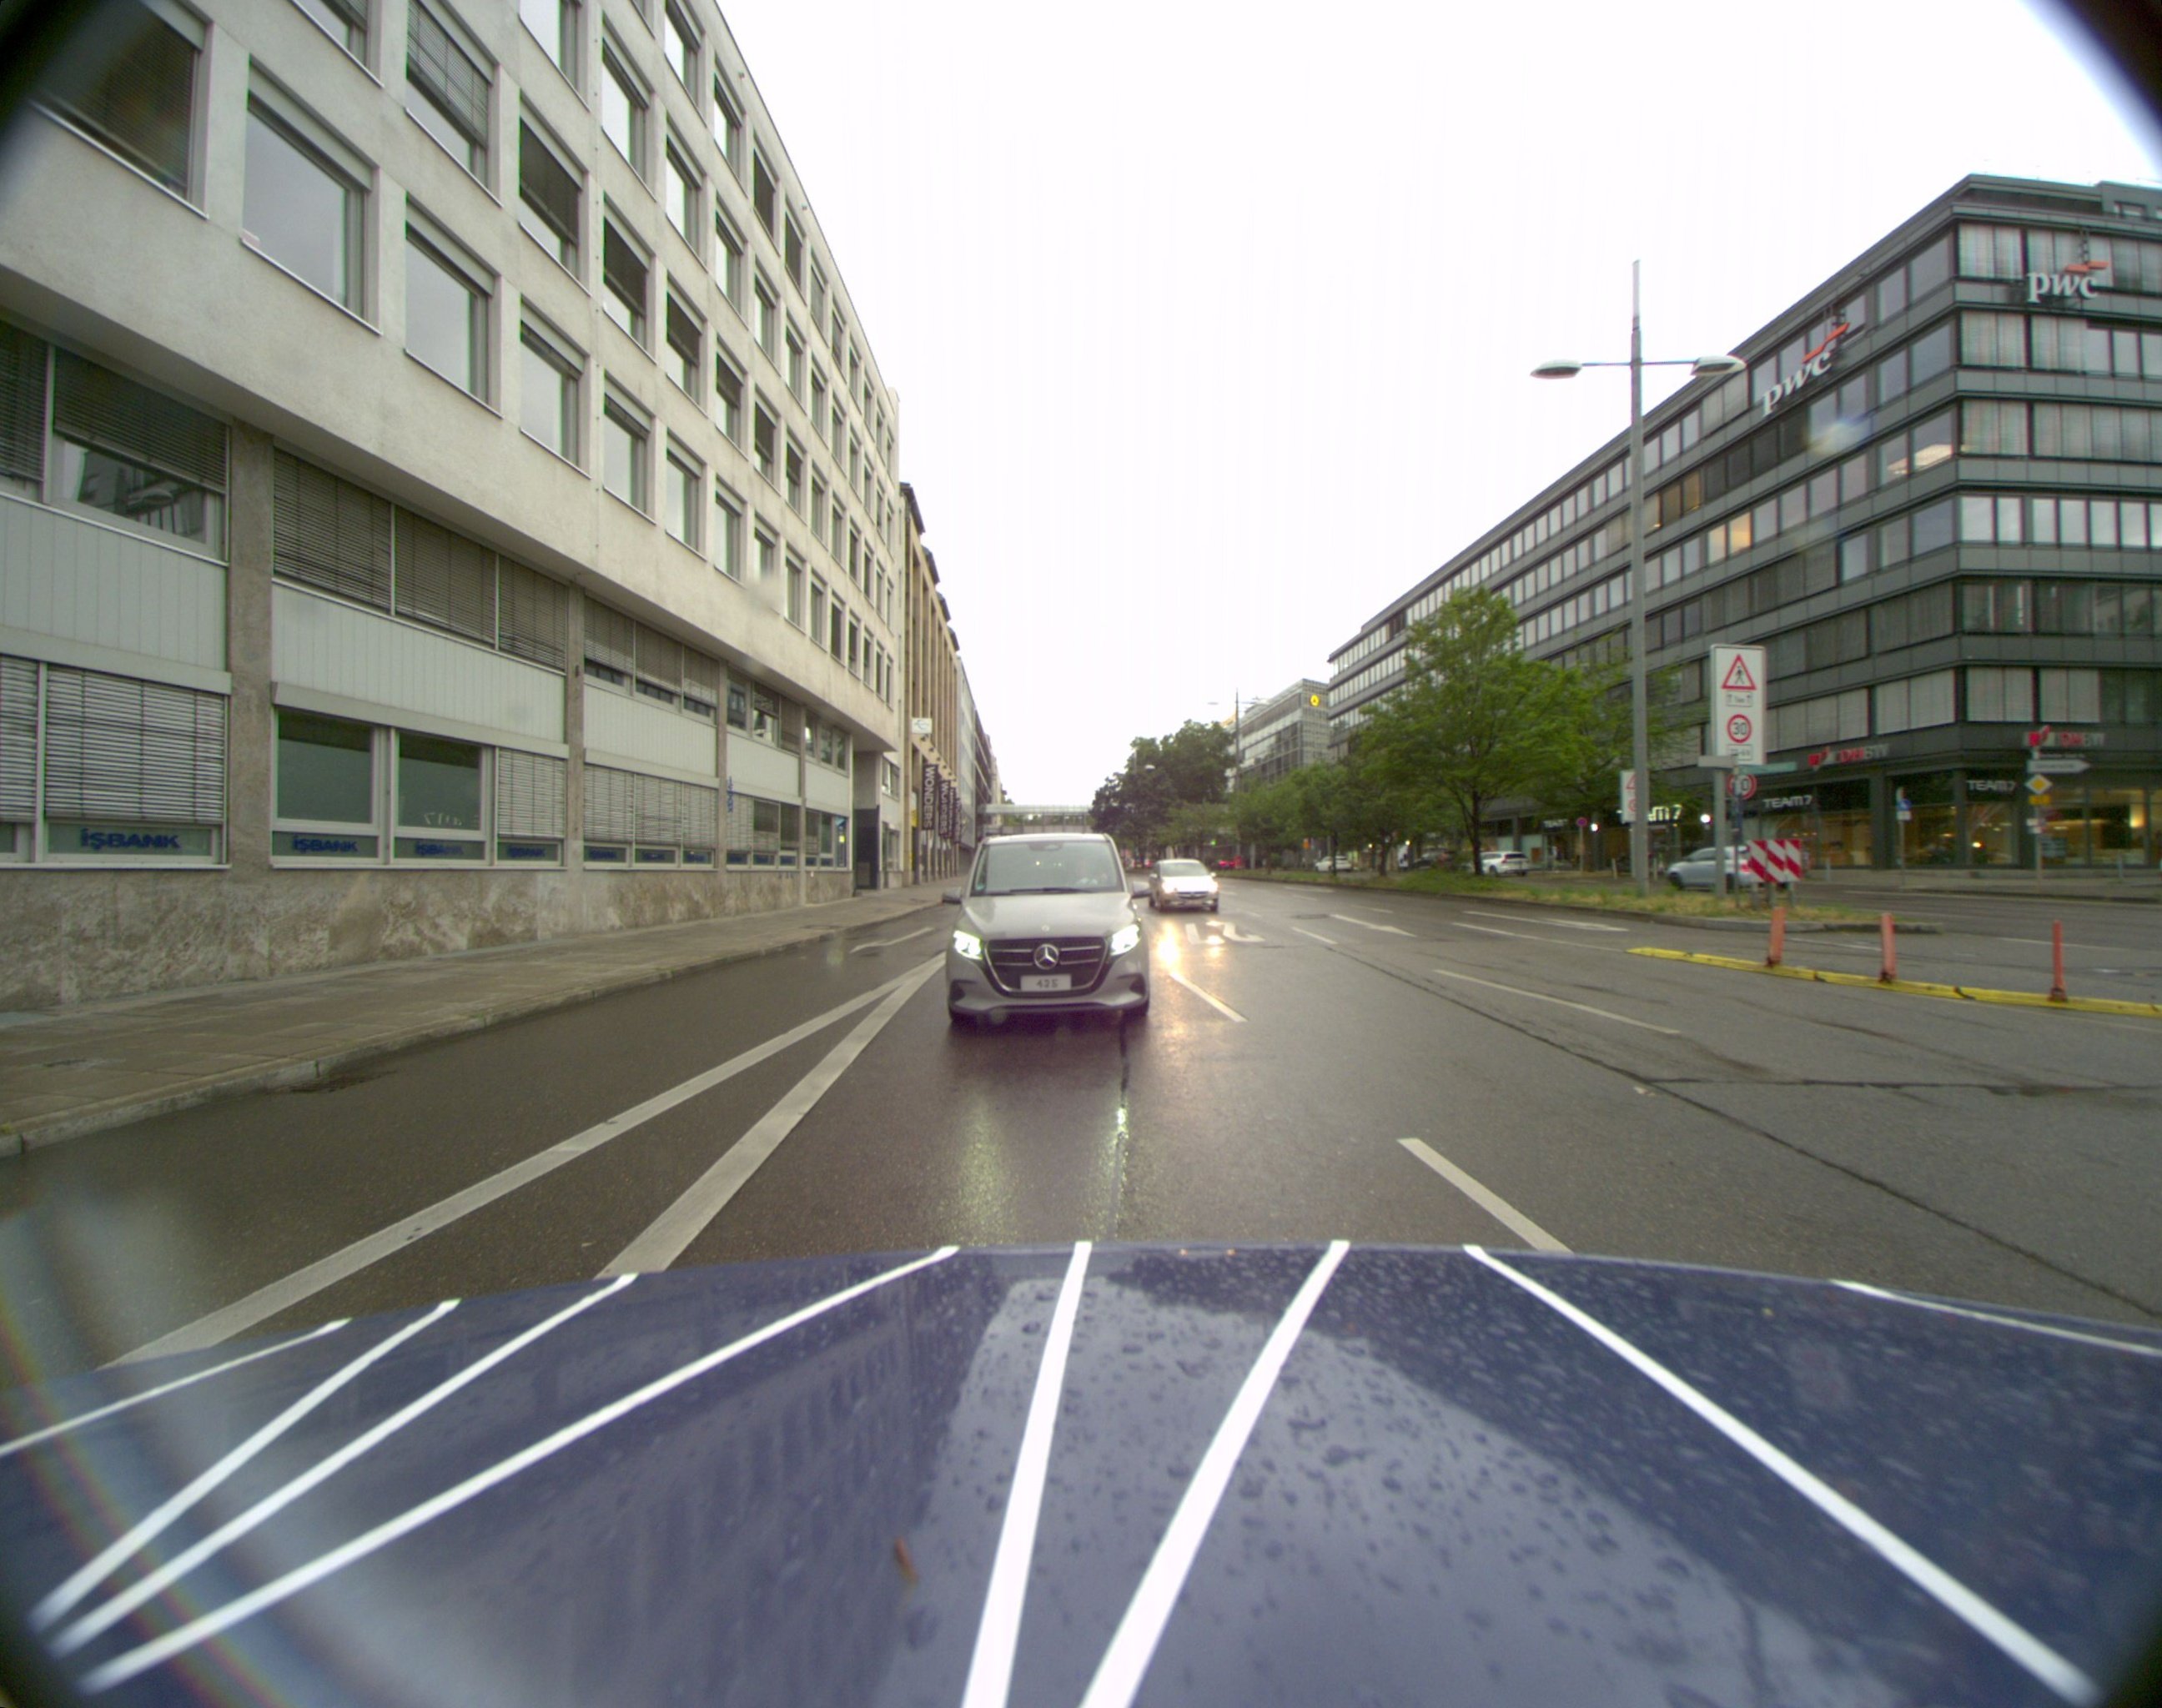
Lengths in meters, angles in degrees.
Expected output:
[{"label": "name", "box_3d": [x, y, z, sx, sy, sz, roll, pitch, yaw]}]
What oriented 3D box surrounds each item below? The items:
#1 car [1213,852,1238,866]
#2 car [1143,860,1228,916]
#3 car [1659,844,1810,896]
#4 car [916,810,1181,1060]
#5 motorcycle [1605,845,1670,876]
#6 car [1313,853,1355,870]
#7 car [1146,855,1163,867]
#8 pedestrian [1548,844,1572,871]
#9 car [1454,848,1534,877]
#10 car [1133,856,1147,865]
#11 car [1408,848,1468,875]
[{"label": "car", "box_3d": [16.838, 0.576, 88.631, 1.999, 1.535, 4.482, -1, 0, -1]}, {"label": "car", "box_3d": [2.968, 0.939, 22.438, 1.853, 1.434, 3.869, -1, 0, -2]}, {"label": "car", "box_3d": [21.582, 0.503, 25.316, 1.788, 1.564, 3.690, -1, 0, -2]}, {"label": "car", "box_3d": [-0.414, 0.679, 8.858, 2.163, 2.014, 5.040, -1, 0, -4]}, {"label": "motorcycle", "box_3d": [26.966, 0.310, 36.846, 0.861, 1.386, 2.364, -5, 2, -30]}, {"label": "car", "box_3d": [22.280, 0.645, 67.007, 1.814, 1.436, 4.307, -2, 0, -7]}, {"label": "car", "box_3d": [11.230, 1.098, 116.306, 1.742, 1.717, 4.491, 2, 0, -6]}, {"label": "pedestrian", "box_3d": [28.928, 0.222, 45.855, 0.786, 1.628, 0.965, -1, 0, -4]}, {"label": "car", "box_3d": [24.008, 0.456, 44.391, 1.814, 1.477, 4.771, -4, 0, -4]}, {"label": "car", "box_3d": [9.867, 1.085, 126.824, 1.687, 1.423, 4.081, -1, 0, -5]}, {"label": "car", "box_3d": [23.669, 0.450, 50.525, 1.813, 1.651, 4.309, -2, 0, -2]}]
